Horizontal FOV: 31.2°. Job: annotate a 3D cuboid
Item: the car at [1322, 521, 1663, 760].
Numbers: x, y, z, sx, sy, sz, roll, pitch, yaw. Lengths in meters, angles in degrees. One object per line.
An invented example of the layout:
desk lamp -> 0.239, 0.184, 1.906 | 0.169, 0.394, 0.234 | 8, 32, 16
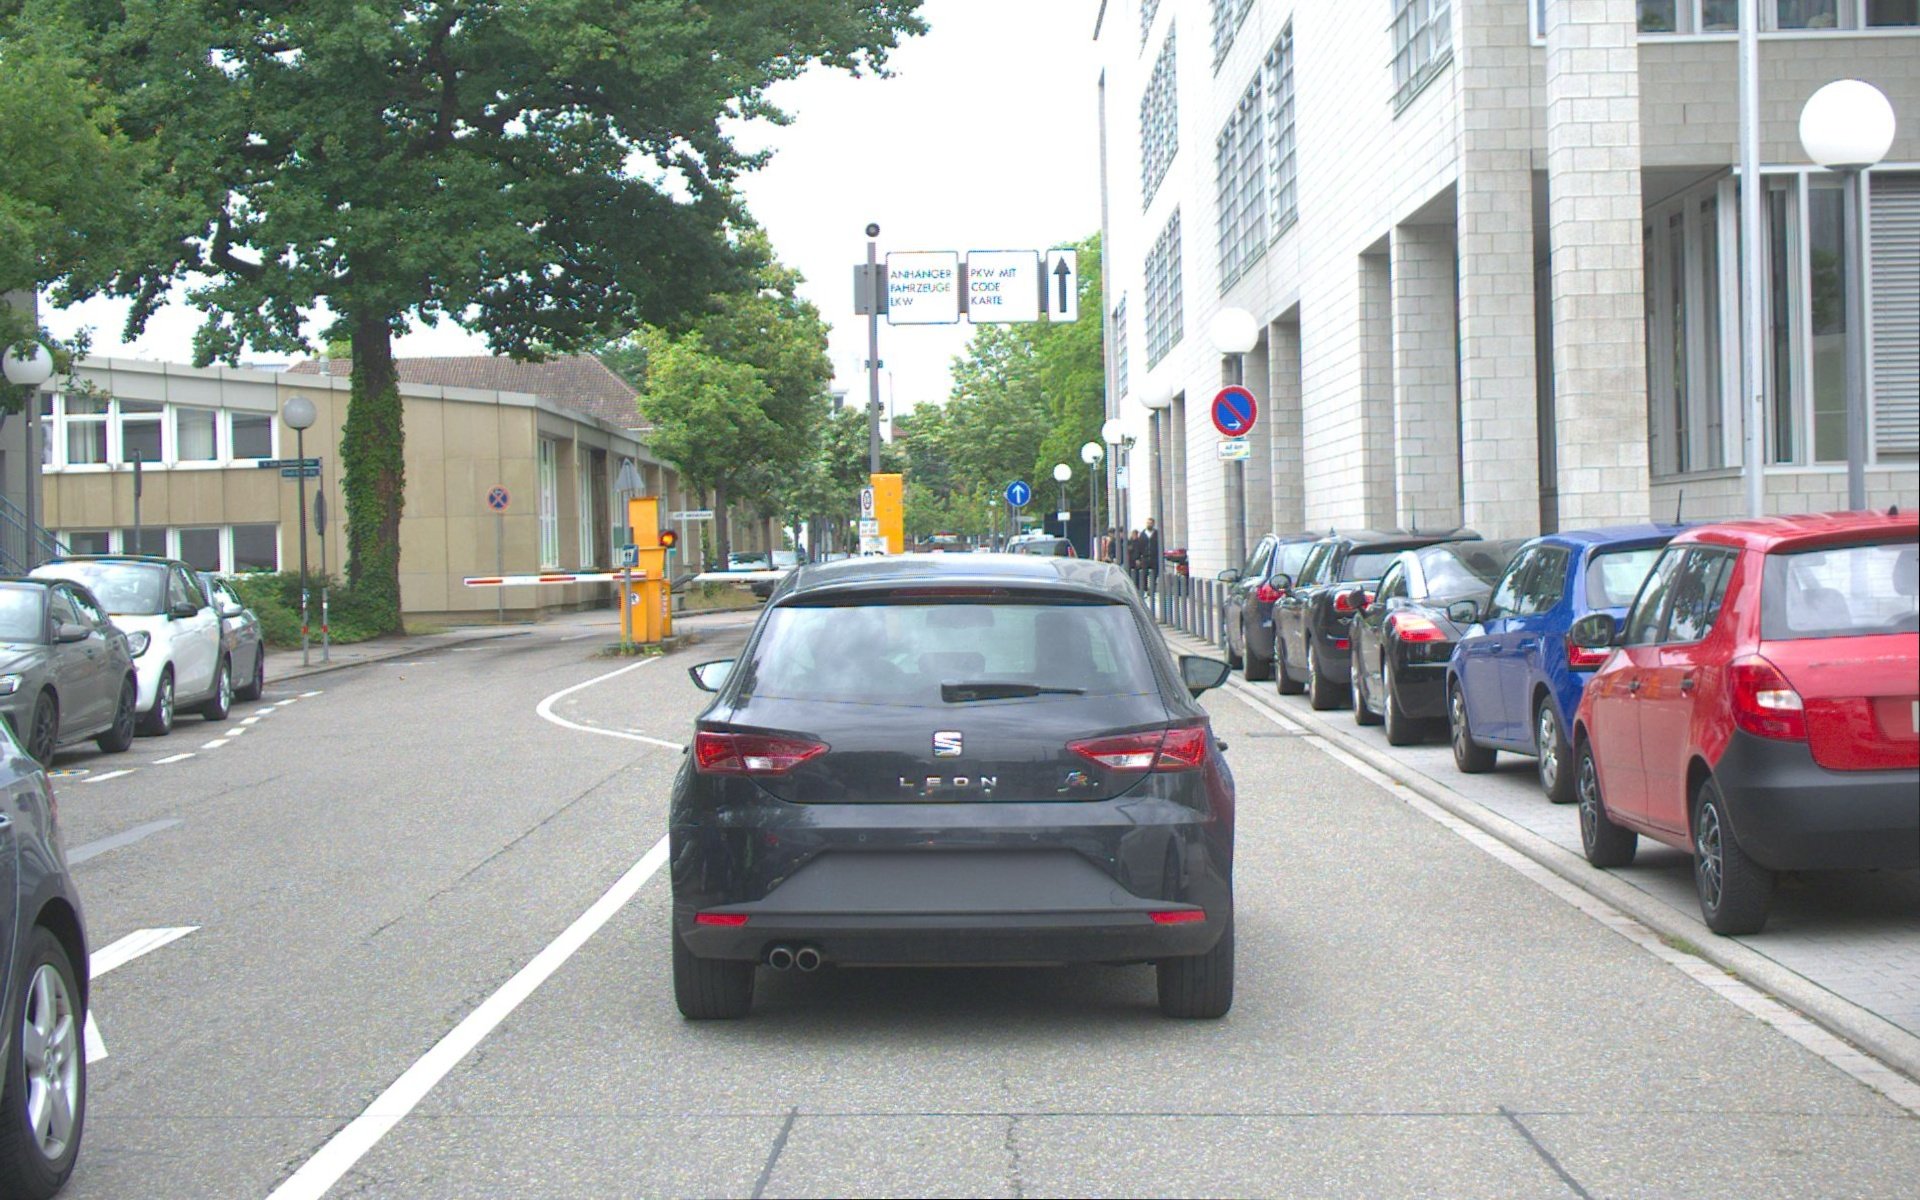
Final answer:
car -> 3.732, 0.217, 24.805 | 1.848, 1.437, 4.419 | -1, 2, 1

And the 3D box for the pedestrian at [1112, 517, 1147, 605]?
pedestrian -> 3.351, -0.780, 67.990 | 0.611, 1.708, 0.574 | -2, 1, 6

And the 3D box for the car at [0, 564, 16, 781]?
car -> -7.391, 0.538, 21.701 | 1.762, 1.466, 3.825 | -2, 1, 0

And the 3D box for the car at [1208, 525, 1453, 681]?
car -> 3.746, 0.005, 35.530 | 1.993, 1.447, 4.923 | -2, 1, 0

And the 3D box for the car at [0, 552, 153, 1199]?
car -> -2.865, 0.687, 6.192 | 1.783, 1.492, 4.168 | -2, 1, 0

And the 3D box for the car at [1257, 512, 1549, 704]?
car -> 3.734, 0.025, 29.693 | 1.818, 1.438, 4.521 | -3, 1, -1

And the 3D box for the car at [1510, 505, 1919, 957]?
car -> 3.465, 0.394, 13.964 | 1.712, 1.468, 4.274 | -4, 1, 0

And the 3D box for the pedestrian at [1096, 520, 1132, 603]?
pedestrian -> 3.194, -0.793, 71.363 | 0.696, 1.708, 0.489 | -1, 1, 6

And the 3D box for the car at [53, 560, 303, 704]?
car -> -8.235, 0.295, 36.542 | 1.817, 1.384, 4.195 | -1, 1, -2

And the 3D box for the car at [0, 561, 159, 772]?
car -> -7.376, 0.459, 25.946 | 1.763, 1.407, 4.009 | -1, 1, -1

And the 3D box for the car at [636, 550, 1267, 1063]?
car -> -0.027, 0.561, 11.887 | 1.782, 1.414, 4.130 | -1, 1, 0

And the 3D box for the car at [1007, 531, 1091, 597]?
car -> 2.298, -0.925, 90.110 | 1.993, 1.617, 4.428 | -2, 0, 0

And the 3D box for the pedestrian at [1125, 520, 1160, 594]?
pedestrian -> 4.237, -0.994, 79.666 | 0.727, 1.693, 0.588 | -1, 3, -5

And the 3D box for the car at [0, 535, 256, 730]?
car -> -7.600, 0.242, 30.967 | 1.716, 1.580, 3.878 | -1, 2, 0

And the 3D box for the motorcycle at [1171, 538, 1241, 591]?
motorcycle -> 5.820, -0.849, 81.196 | 0.760, 1.144, 2.659 | 1, 4, 25

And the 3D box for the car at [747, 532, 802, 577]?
car -> -6.742, -1.658, 125.012 | 1.770, 1.595, 4.000 | -1, 1, 0

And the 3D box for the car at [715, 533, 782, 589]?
car -> -6.265, -1.165, 102.218 | 1.770, 1.595, 4.000 | -1, 1, -1

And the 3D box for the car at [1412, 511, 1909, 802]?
car -> 3.845, 0.264, 19.623 | 1.695, 1.406, 4.377 | -2, 1, -3
